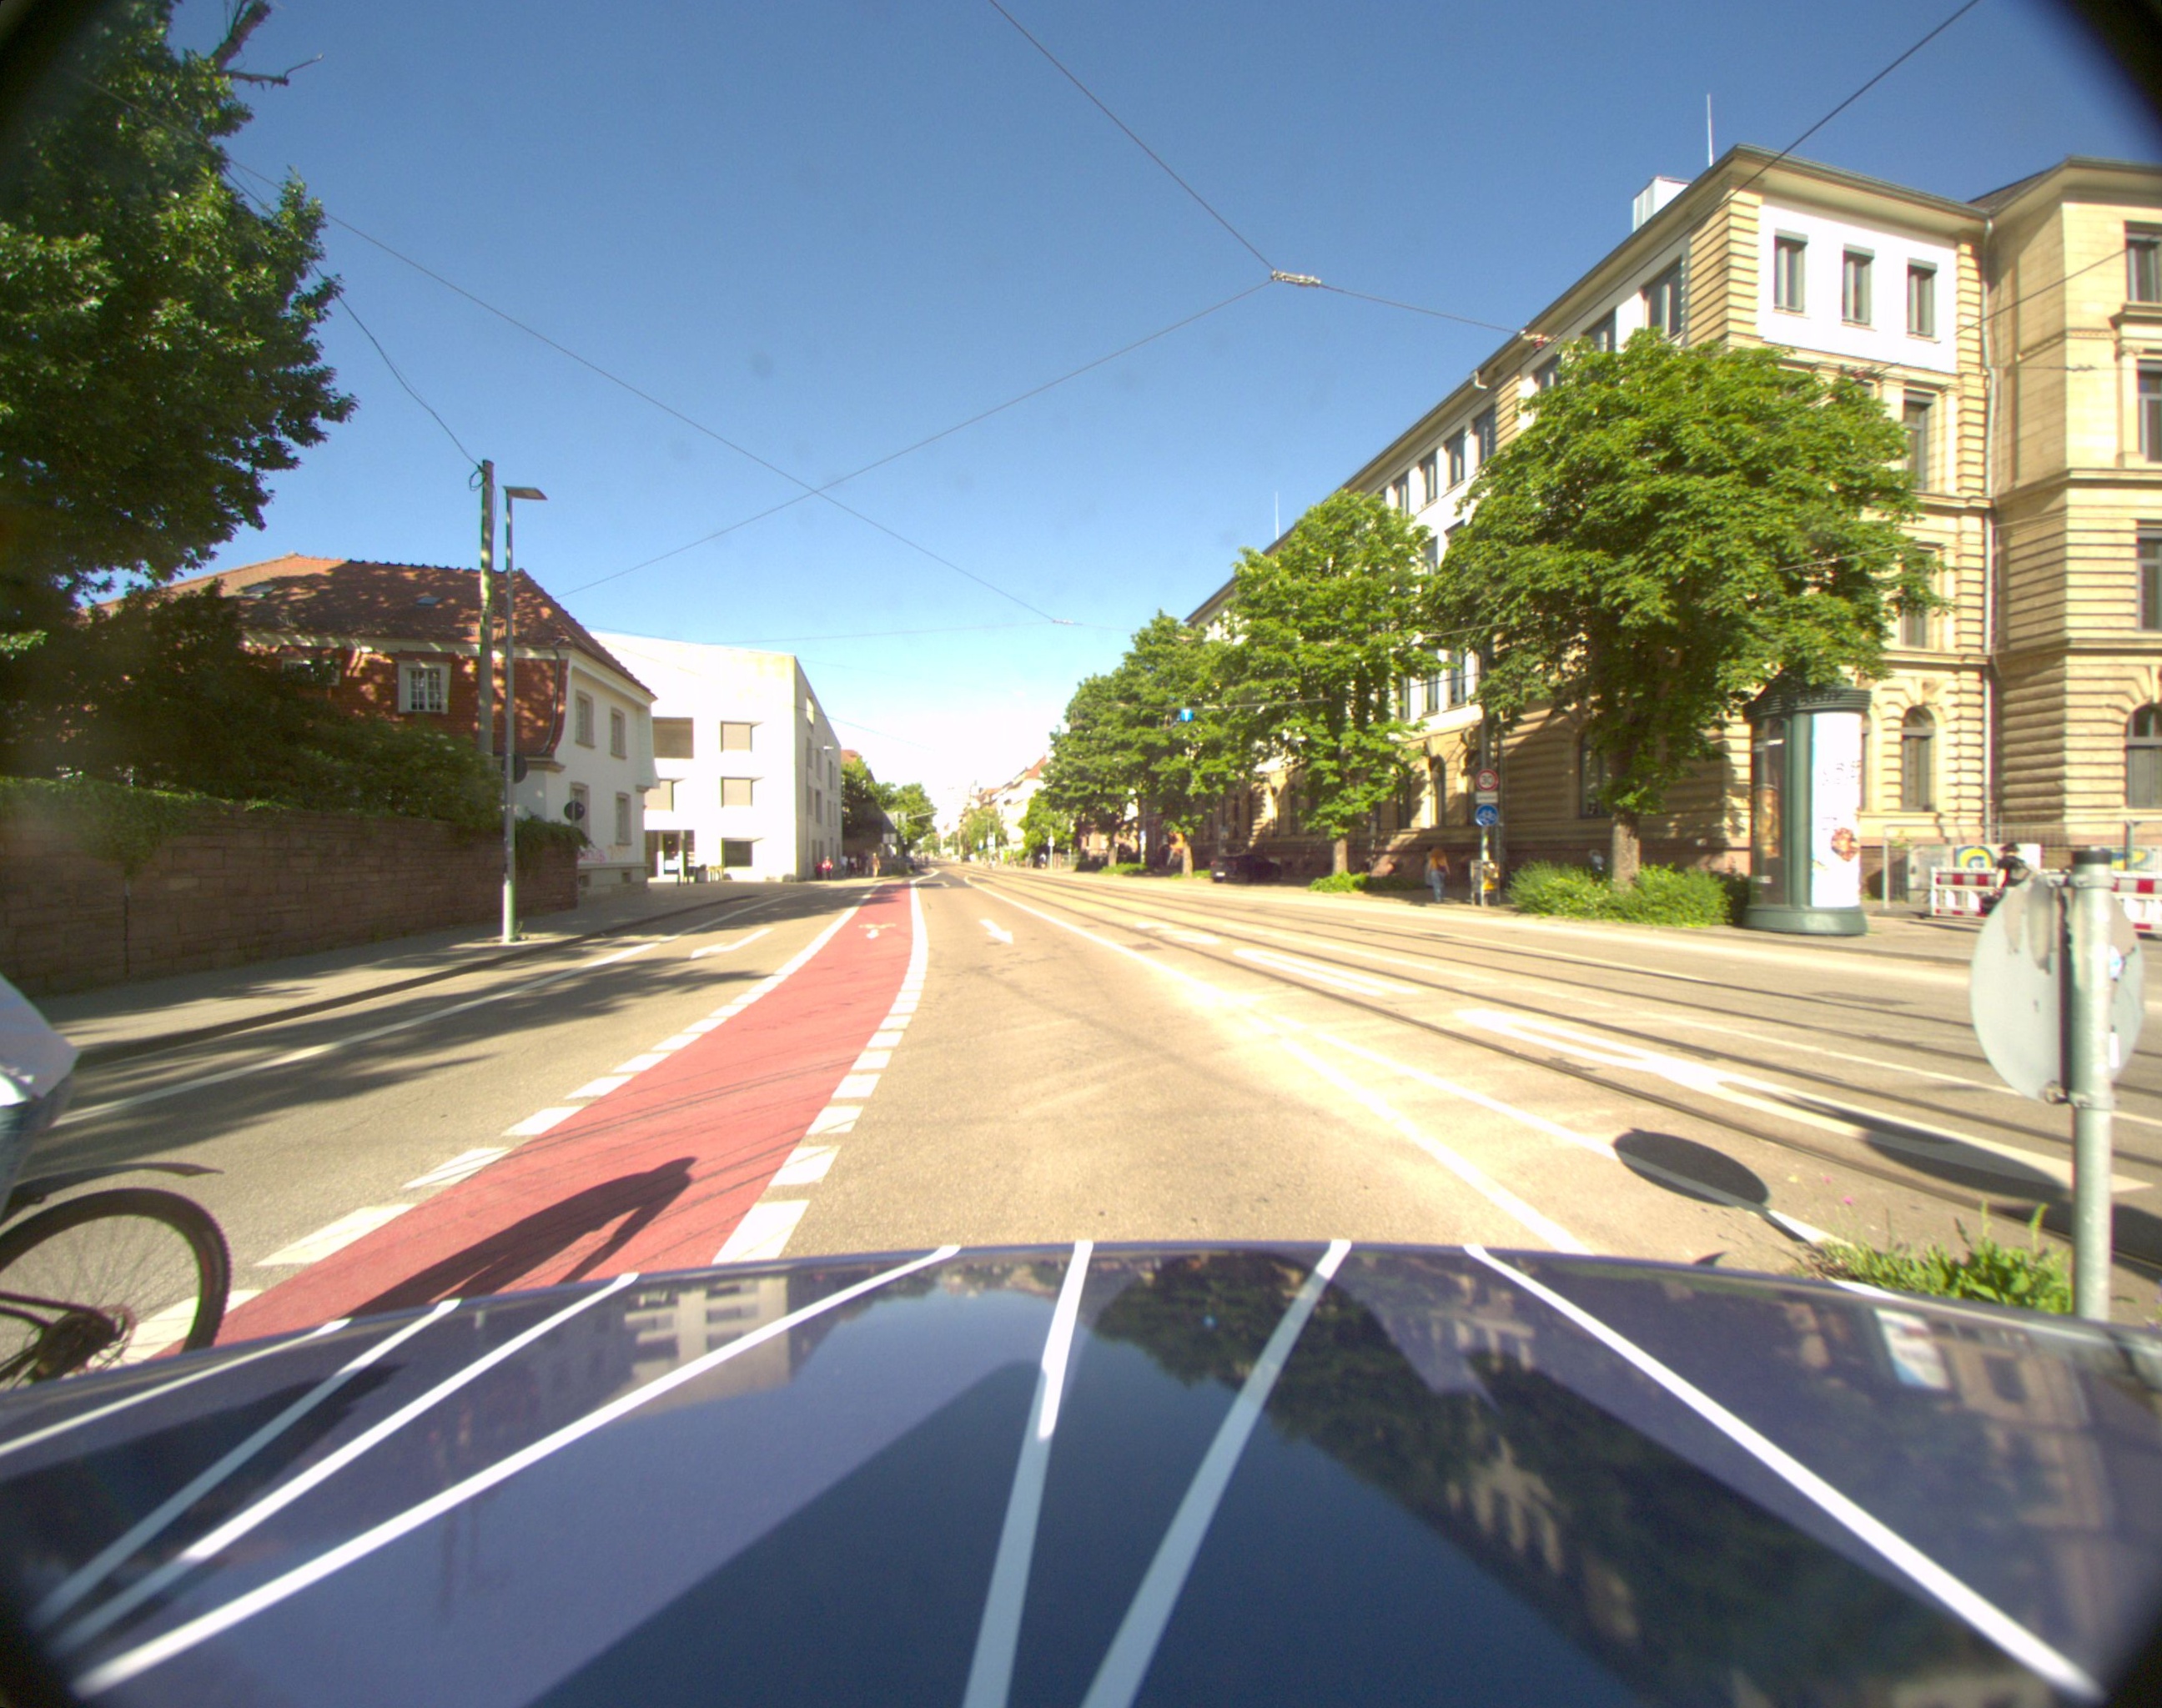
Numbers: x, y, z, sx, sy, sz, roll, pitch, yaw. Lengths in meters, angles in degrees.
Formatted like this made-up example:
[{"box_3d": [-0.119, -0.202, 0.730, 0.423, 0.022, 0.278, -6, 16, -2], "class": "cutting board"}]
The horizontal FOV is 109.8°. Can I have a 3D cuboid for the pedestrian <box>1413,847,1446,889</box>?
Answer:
[{"box_3d": [13.427, 0.532, 29.299, 0.858, 1.558, 0.672, -4, 2, -7], "class": "pedestrian"}]

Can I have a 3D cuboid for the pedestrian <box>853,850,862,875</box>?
[{"box_3d": [-16.200, 0.612, 55.046, 0.588, 1.795, 0.545, -1, 1, -13], "class": "pedestrian"}]

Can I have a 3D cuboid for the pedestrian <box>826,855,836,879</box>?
[{"box_3d": [-16.045, 0.843, 48.747, 0.535, 1.557, 0.519, -1, 1, -13], "class": "pedestrian"}]

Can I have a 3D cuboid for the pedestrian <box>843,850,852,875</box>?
[{"box_3d": [-16.924, 0.631, 55.079, 0.588, 1.795, 0.545, -1, 1, -13], "class": "pedestrian"}]

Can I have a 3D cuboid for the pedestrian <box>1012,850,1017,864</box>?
[{"box_3d": [-8.817, 0.415, 100.768, 0.579, 1.845, 0.684, 0, 1, -11], "class": "pedestrian"}]

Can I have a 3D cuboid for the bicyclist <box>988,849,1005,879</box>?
[{"box_3d": [-8.321, 0.987, 74.903, 1.473, 2.959, 1.004, -2, 2, 0], "class": "bicyclist"}]

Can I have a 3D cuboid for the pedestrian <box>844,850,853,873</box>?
[{"box_3d": [-17.953, 0.582, 58.736, 0.588, 1.795, 0.545, -1, 1, -13], "class": "pedestrian"}]

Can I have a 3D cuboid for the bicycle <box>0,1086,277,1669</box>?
[{"box_3d": [-2.615, 1.222, 1.291, 0.612, 1.071, 1.829, -1, 0, -4], "class": "bicycle"}]

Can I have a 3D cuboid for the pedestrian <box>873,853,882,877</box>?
[{"box_3d": [-14.836, 0.774, 55.447, 0.588, 1.717, 0.519, -1, 1, -13], "class": "pedestrian"}]

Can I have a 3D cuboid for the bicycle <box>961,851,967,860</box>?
[{"box_3d": [-24.538, 0.302, 159.767, 1.004, 1.672, 2.981, -2, 2, -12], "class": "bicycle"}]

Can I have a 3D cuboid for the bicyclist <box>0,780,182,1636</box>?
[{"box_3d": [-2.605, 0.736, 1.352, 0.752, 1.765, 1.013, -1, 1, -4], "class": "bicyclist"}]

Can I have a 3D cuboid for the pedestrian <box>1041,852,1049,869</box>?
[{"box_3d": [-3.895, 0.674, 82.291, 0.729, 1.845, 0.653, 0, 1, -9], "class": "pedestrian"}]

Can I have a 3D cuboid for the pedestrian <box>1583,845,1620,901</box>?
[{"box_3d": [14.770, 0.531, 21.580, 0.579, 1.553, 0.653, 0, 1, -12], "class": "pedestrian"}]

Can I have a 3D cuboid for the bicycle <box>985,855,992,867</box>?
[{"box_3d": [-14.297, 1.105, 117.450, 1.004, 1.672, 2.981, -2, 2, -9], "class": "bicycle"}]

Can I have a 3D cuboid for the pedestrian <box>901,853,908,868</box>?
[{"box_3d": [-19.425, 0.711, 83.418, 0.679, 1.728, 0.931, 0, 1, -10], "class": "pedestrian"}]

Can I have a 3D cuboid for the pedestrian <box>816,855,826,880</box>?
[{"box_3d": [-16.677, 0.859, 48.667, 0.535, 1.557, 0.519, -1, 1, -13], "class": "pedestrian"}]

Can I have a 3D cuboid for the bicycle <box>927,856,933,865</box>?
[{"box_3d": [-20.112, 0.833, 101.091, 0.665, 1.146, 1.670, -2, 2, -8], "class": "bicycle"}]

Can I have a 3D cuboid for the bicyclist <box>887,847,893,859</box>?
[{"box_3d": [-35.106, -0.140, 139.667, 0.813, 2.194, 0.983, -2, 2, -10], "class": "bicyclist"}]

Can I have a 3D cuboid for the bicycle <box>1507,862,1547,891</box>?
[{"box_3d": [15.226, 0.760, 25.977, 0.398, 0.898, 1.359, -2, 2, -10], "class": "bicycle"}]

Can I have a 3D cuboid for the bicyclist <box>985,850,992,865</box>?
[{"box_3d": [-14.306, 0.514, 117.386, 1.004, 2.255, 1.019, -2, 2, -9], "class": "bicyclist"}]

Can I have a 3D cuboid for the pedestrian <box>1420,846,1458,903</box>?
[{"box_3d": [10.716, 0.643, 22.730, 0.770, 1.658, 1.036, -2, -4, 40], "class": "pedestrian"}]

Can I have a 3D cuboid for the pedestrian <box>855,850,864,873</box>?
[{"box_3d": [-17.188, 0.557, 58.915, 0.588, 1.795, 0.545, -1, 1, -13], "class": "pedestrian"}]

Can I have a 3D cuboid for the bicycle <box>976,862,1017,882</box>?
[{"box_3d": [-8.350, 1.780, 74.922, 3.891, 1.876, 1.004, -2, 2, 0], "class": "bicycle"}]

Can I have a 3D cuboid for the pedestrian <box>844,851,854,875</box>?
[{"box_3d": [-17.426, 0.662, 57.079, 0.588, 1.795, 0.582, -1, 1, -13], "class": "pedestrian"}]

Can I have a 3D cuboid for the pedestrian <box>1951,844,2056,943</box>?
[{"box_3d": [16.232, 0.668, 13.395, 0.729, 1.660, 0.846, 0, 3, -2], "class": "pedestrian"}]

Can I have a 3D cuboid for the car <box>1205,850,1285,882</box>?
[{"box_3d": [8.566, 0.599, 39.575, 4.118, 1.565, 1.916, -1, 1, -39], "class": "car"}]

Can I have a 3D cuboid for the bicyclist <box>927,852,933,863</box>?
[{"box_3d": [-20.119, 0.486, 101.060, 0.665, 1.453, 0.622, -2, 2, -8], "class": "bicyclist"}]

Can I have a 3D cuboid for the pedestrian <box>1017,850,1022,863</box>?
[{"box_3d": [-8.381, 0.321, 104.177, 0.579, 1.845, 0.684, 0, 1, -11], "class": "pedestrian"}]

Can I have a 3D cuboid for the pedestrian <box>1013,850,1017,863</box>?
[{"box_3d": [-9.028, 0.343, 104.004, 0.579, 1.845, 0.684, 0, 1, -11], "class": "pedestrian"}]

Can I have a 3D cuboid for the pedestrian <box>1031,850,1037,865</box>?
[{"box_3d": [-5.760, 0.417, 93.056, 0.579, 1.845, 0.653, 0, 1, -11], "class": "pedestrian"}]

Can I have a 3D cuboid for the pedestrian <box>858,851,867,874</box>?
[{"box_3d": [-16.559, 0.642, 57.582, 0.588, 1.795, 0.582, -1, 1, -13], "class": "pedestrian"}]

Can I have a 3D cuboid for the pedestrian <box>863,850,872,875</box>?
[{"box_3d": [-15.500, 0.587, 55.261, 0.588, 1.795, 0.519, -1, 1, -13], "class": "pedestrian"}]
